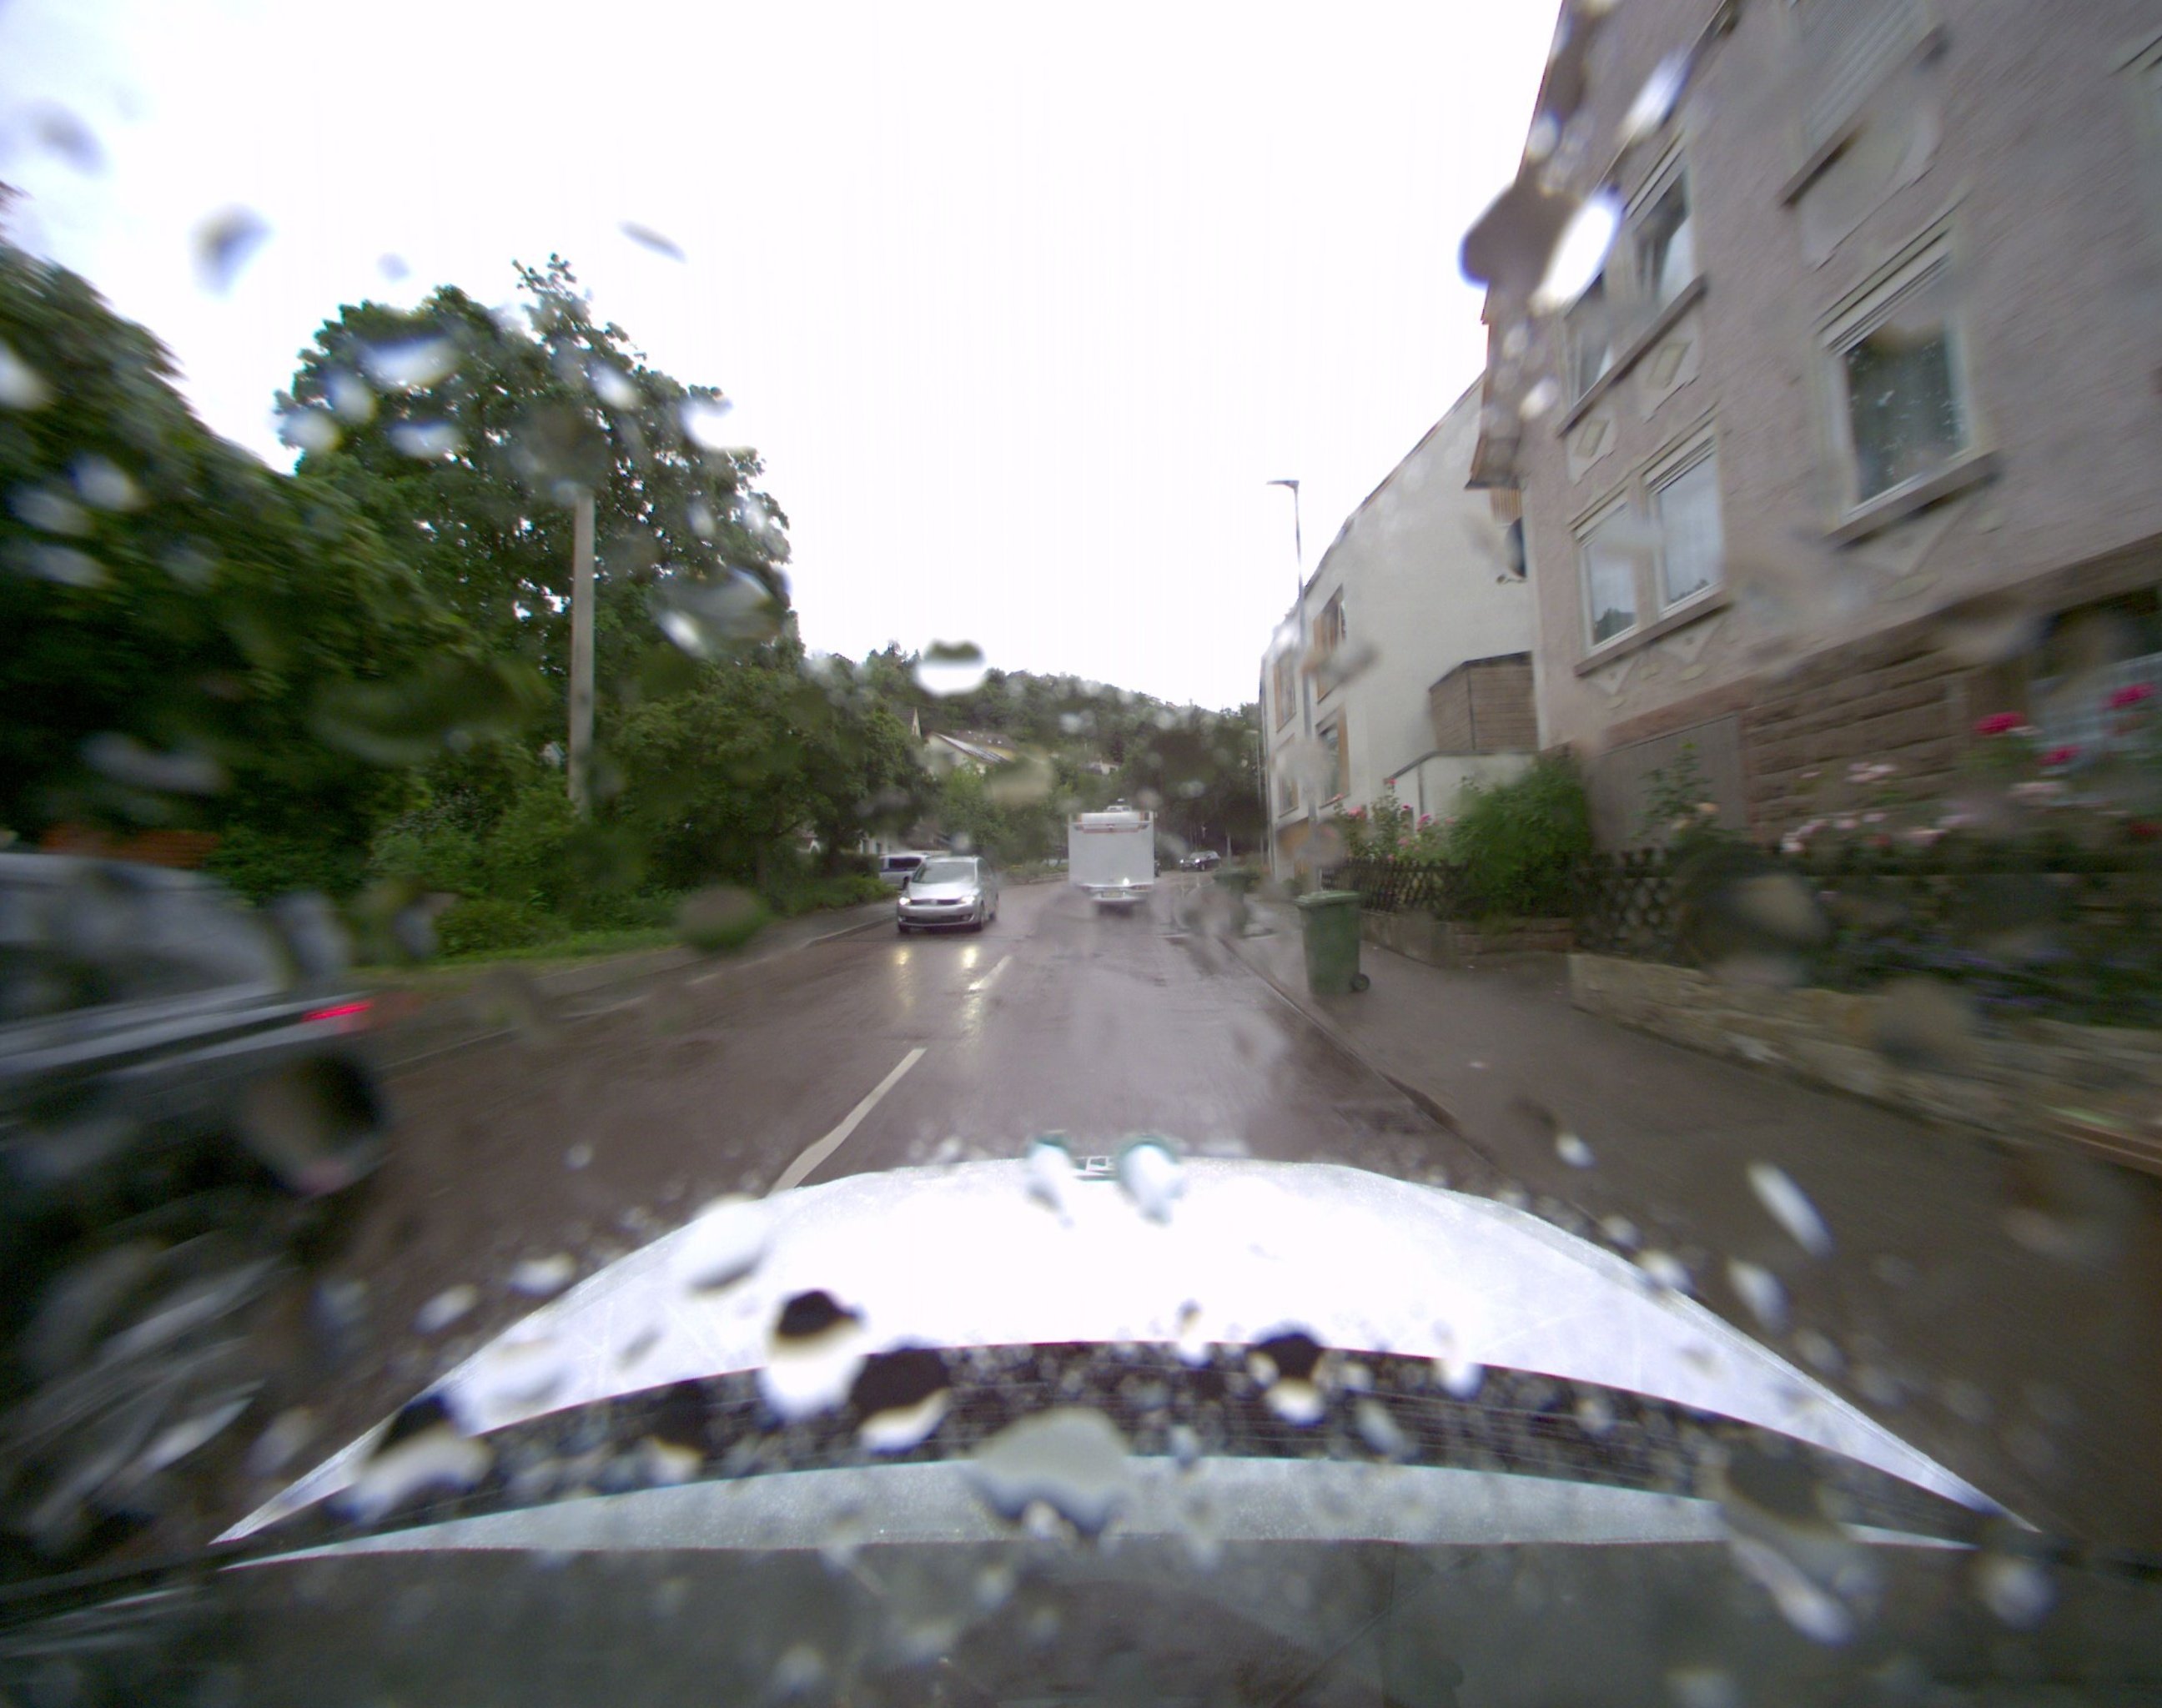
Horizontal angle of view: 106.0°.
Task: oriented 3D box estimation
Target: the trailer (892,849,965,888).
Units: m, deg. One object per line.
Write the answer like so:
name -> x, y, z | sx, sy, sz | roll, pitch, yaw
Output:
trailer -> -9.103, 0.859, 48.563 | 3.963, 2.102, 1.939 | -2, -1, -21

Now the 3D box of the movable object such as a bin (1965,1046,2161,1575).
movable object such as a bin -> 2.311, 0.884, 1.479 | 0.628, 0.897, 0.712 | -1, 0, 1

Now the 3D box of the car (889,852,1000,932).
car -> -2.893, 0.748, 18.087 | 1.799, 1.553, 3.829 | -1, 0, 0

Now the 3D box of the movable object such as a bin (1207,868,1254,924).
movable object such as a bin -> 2.992, 0.830, 16.372 | 0.832, 1.061, 0.750 | -1, 0, 2

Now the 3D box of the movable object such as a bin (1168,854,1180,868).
movable object such as a bin -> 7.058, 0.534, 61.907 | 0.708, 1.088, 0.555 | -1, 0, -28

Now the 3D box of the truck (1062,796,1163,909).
truck -> 0.942, -0.032, 23.640 | 2.505, 2.817, 6.205 | -1, 0, 3

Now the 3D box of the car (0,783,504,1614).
car -> -3.083, 0.687, 0.778 | 1.911, 1.623, 4.363 | -1, 0, 0

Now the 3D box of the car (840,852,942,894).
car -> -8.581, 0.840, 37.020 | 4.089, 1.800, 2.002 | -1, 0, 3

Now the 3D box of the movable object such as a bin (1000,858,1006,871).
movable object such as a bin -> -6.062, 0.801, 63.618 | 0.345, 1.046, 0.390 | -1, 0, 14

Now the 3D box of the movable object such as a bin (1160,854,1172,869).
movable object such as a bin -> 6.432, 0.553, 61.521 | 0.670, 1.139, 0.620 | -1, 0, -28

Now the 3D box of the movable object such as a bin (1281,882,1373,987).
movable object such as a bin -> 2.671, 0.859, 8.916 | 0.793, 1.070, 0.761 | -1, 0, 3
